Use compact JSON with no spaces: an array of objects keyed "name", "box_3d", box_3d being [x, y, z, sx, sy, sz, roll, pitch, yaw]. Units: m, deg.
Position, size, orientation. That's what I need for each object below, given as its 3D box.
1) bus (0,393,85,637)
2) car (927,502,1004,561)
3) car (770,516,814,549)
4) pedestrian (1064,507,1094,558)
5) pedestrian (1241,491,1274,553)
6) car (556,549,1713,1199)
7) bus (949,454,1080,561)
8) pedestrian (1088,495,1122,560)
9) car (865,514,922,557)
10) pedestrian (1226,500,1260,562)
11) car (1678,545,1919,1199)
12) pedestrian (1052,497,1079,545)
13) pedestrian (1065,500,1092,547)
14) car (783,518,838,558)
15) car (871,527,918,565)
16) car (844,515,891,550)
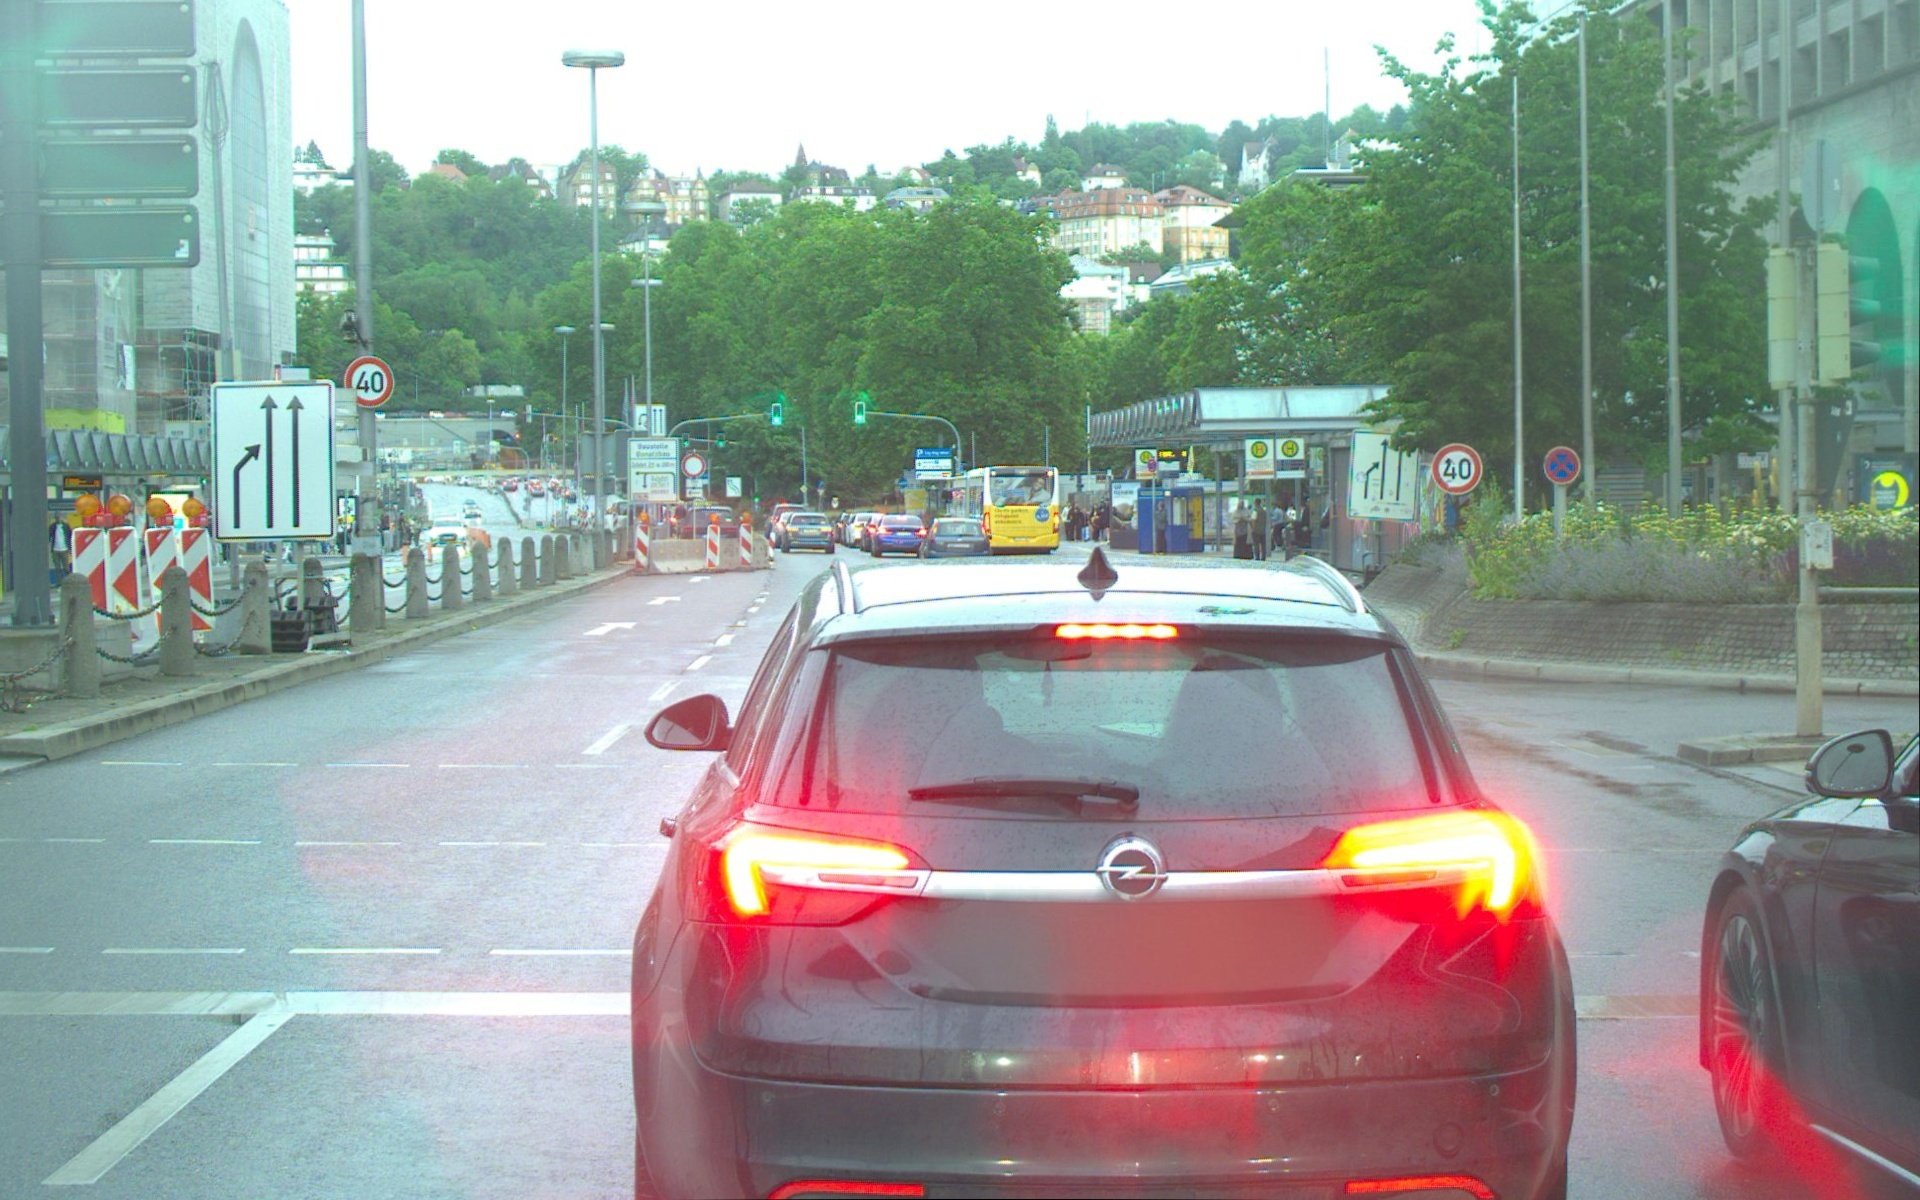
[{"name":"bus","box_3d":[-15.436,-1.261,50.416,2.668,3.589,10.212,1,1,-1]},{"name":"car","box_3d":[0.117,-1.681,85.004,1.845,1.393,3.667,1,1,-1]},{"name":"car","box_3d":[-7.368,-2.951,150.748,1.759,1.393,3.564,1,1,-1]},{"name":"pedestrian","box_3d":[5.014,-2.844,145.061,1.199,2.141,1.228,1,1,1]},{"name":"pedestrian","box_3d":[8.141,-2.121,94.084,0.763,1.684,0.825,1,1,-5]},{"name":"car","box_3d":[0.246,0.646,7.613,1.874,1.481,4.000,1,1,-1]},{"name":"bus","box_3d":[1.781,-3.156,120.842,4.173,3.457,14.655,1,1,-1]},{"name":"pedestrian","box_3d":[5.536,-2.761,131.169,1.199,2.427,1.228,1,1,1]},{"name":"car","box_3d":[-2.260,-2.161,115.983,1.753,1.393,4.649,1,1,-3]},{"name":"pedestrian","box_3d":[7.841,-1.913,95.264,0.763,1.684,0.825,1,1,-5]},{"name":"car","box_3d":[2.714,0.661,6.267,1.793,1.496,4.629,1,1,0]},{"name":"pedestrian","box_3d":[4.765,-3.550,155.372,1.199,2.141,1.228,1,1,1]},{"name":"pedestrian","box_3d":[5.459,-3.513,158.339,1.199,2.141,1.228,1,1,1]},{"name":"car","box_3d":[-5.342,-2.221,123.119,1.845,1.393,3.564,1,1,-1]},{"name":"car","box_3d":[-2.467,-2.037,129.576,1.753,1.393,4.402,1,1,-1]},{"name":"car","box_3d":[-3.811,-2.803,142.371,1.845,1.393,3.564,1,1,-1]}]
